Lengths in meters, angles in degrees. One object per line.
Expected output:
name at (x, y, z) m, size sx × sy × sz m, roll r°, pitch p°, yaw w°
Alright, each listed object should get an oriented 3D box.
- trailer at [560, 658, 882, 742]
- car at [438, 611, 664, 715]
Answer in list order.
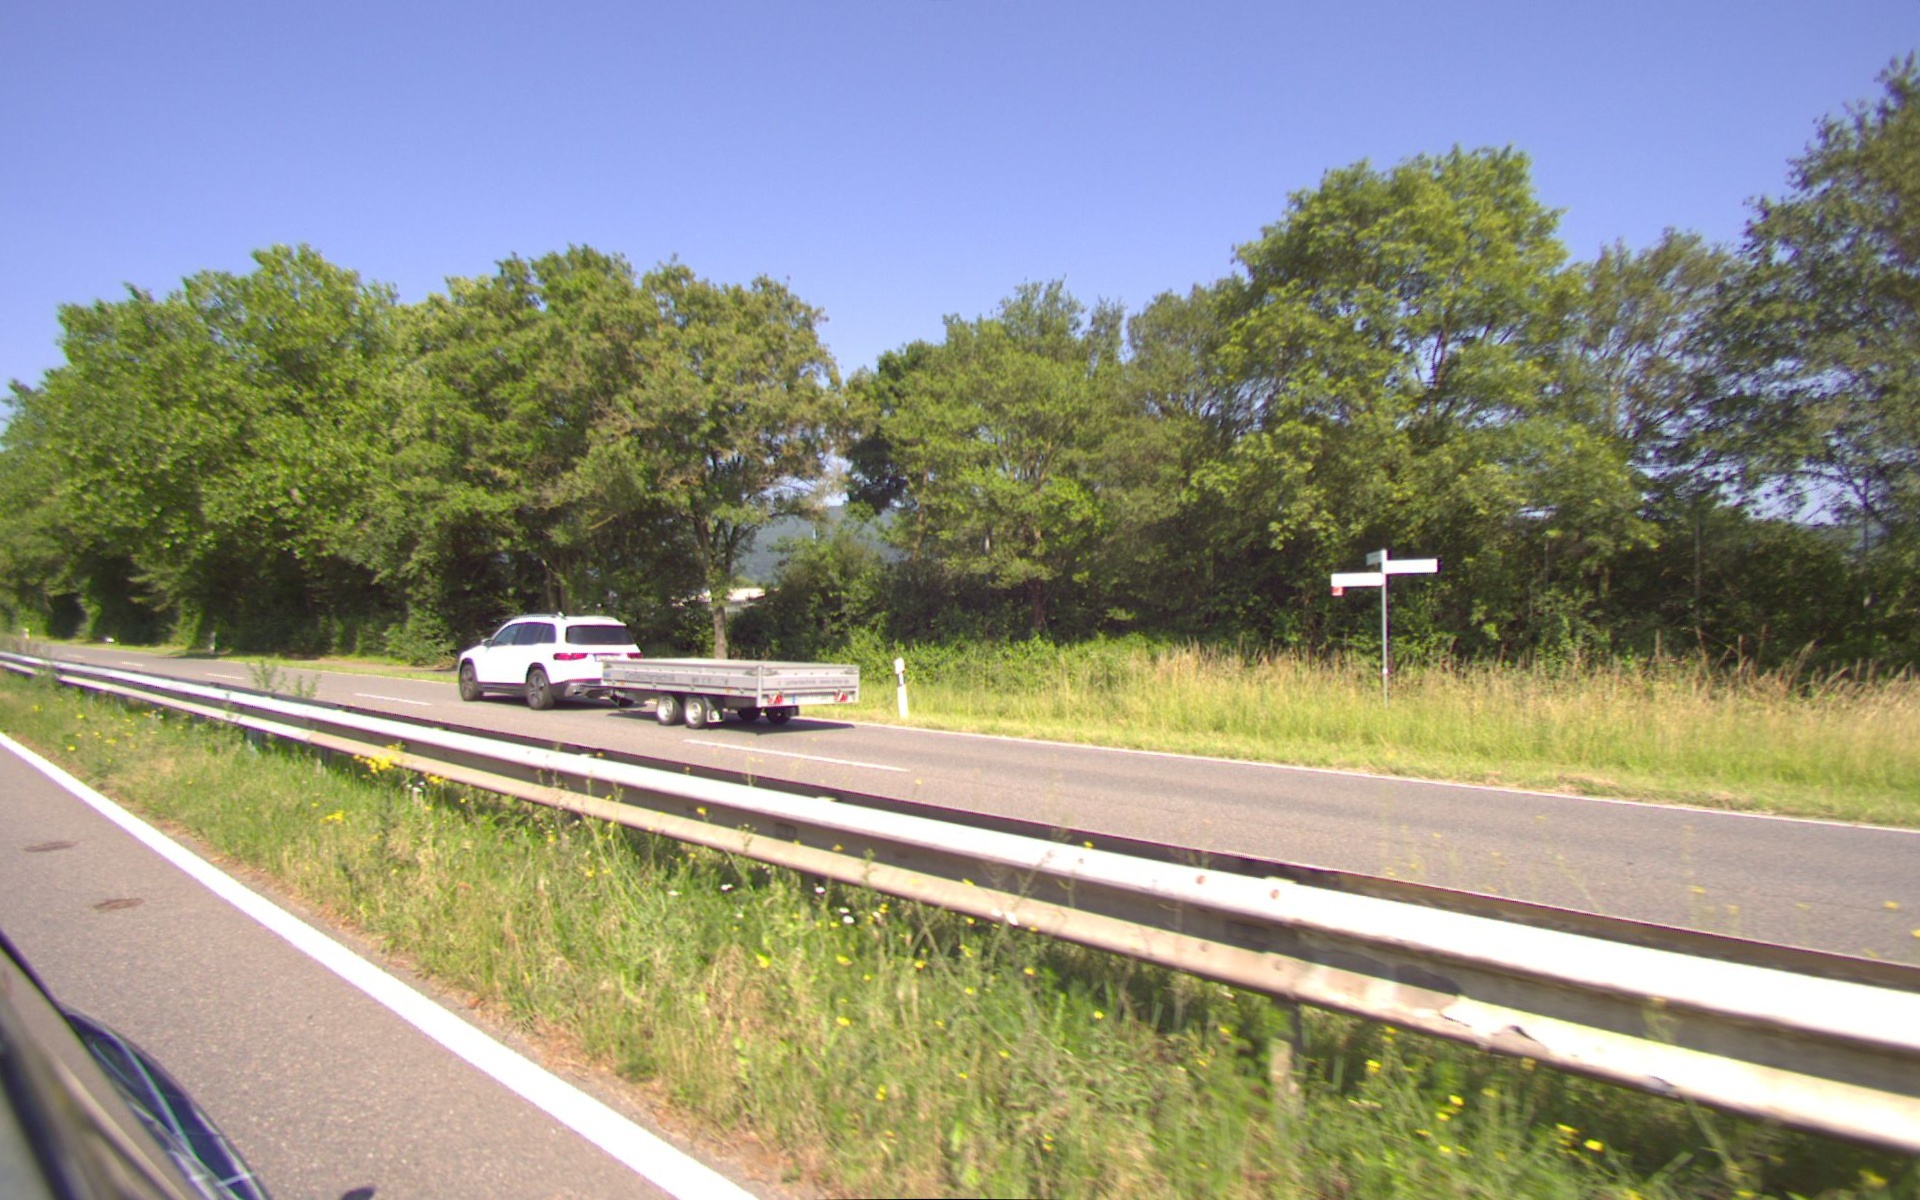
trailer at (-3.872, 1.443, 15.650) m, size 5.595 × 0.968 × 1.943 m, roll -1°, pitch -4°, yaw 41°
car at (-7.826, 1.132, 19.136) m, size 4.811 × 1.713 × 1.973 m, roll -1°, pitch -3°, yaw 41°
